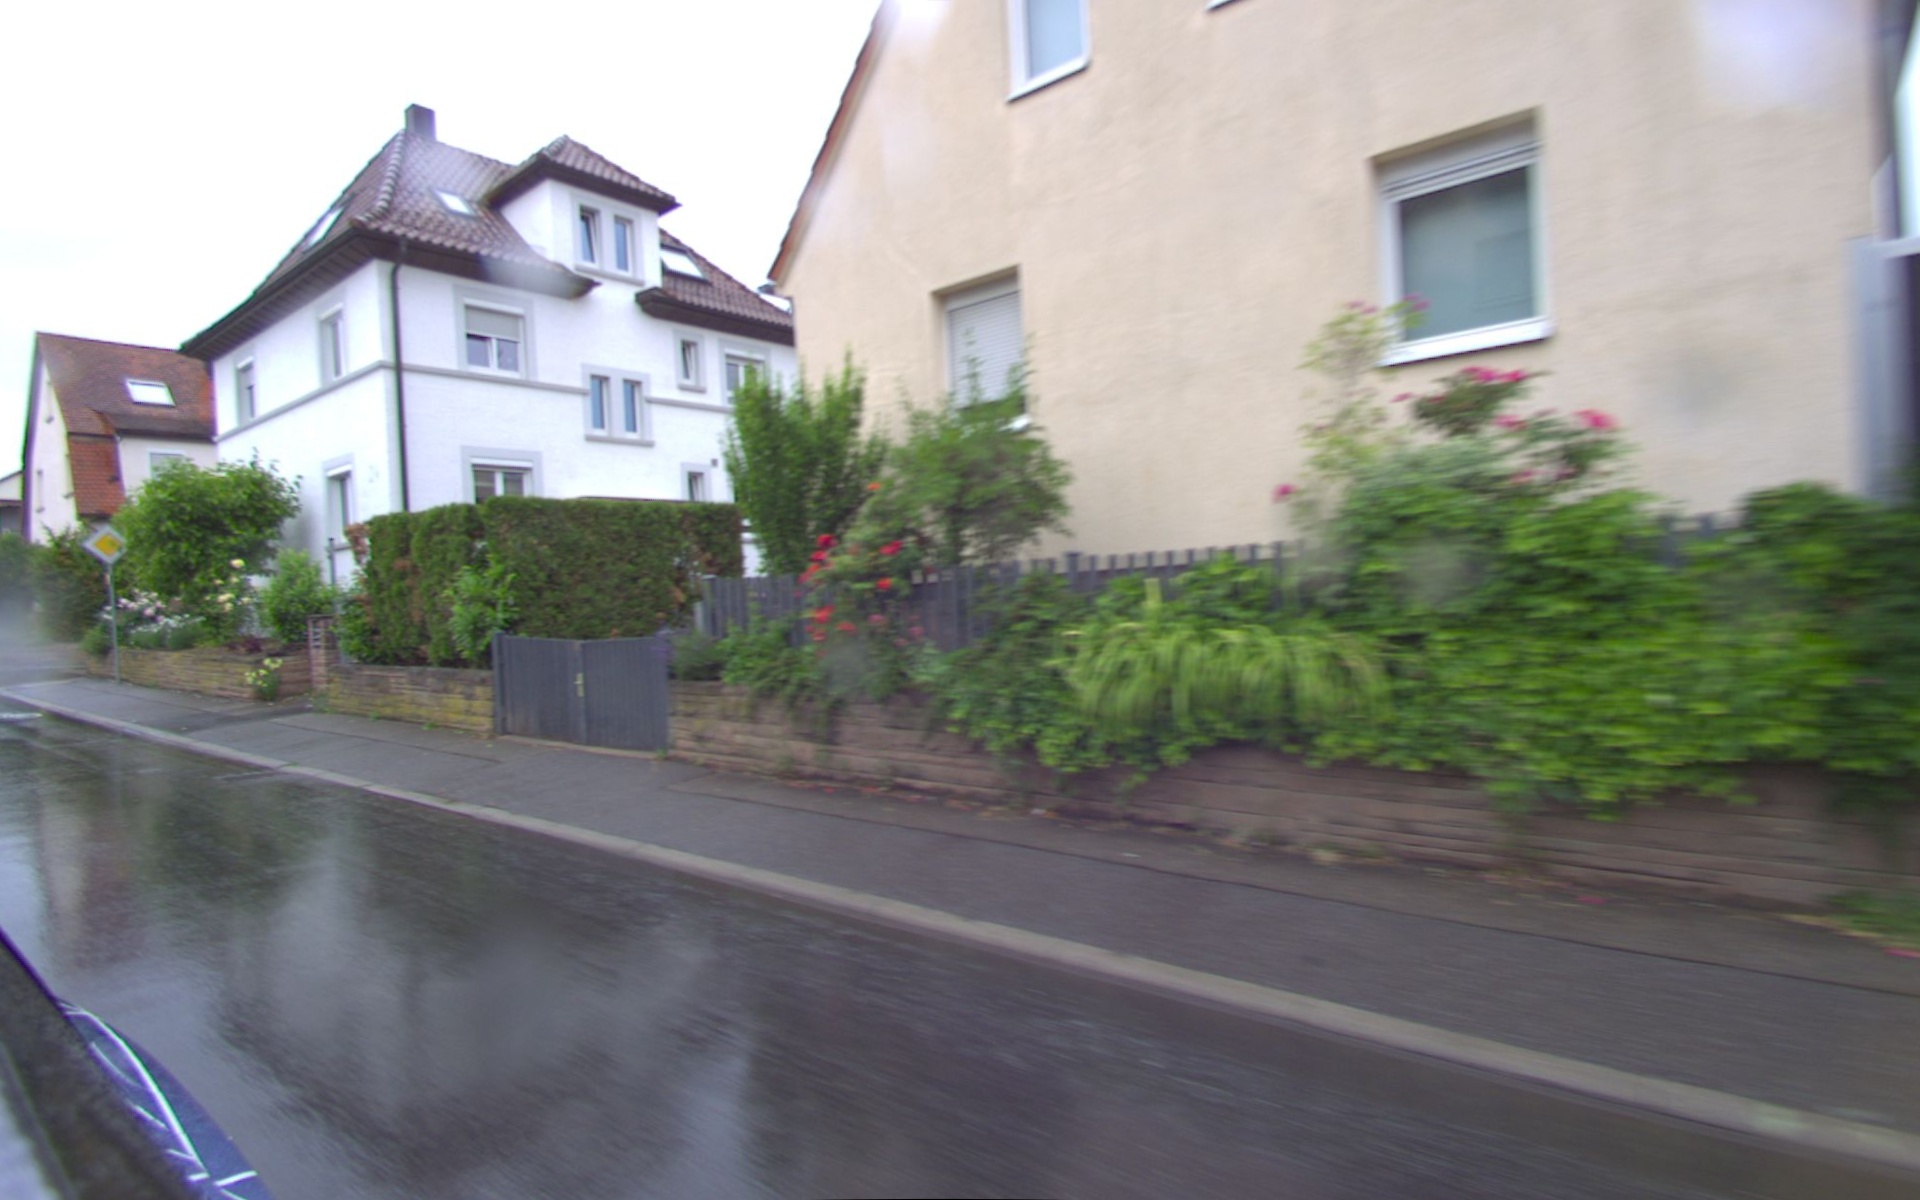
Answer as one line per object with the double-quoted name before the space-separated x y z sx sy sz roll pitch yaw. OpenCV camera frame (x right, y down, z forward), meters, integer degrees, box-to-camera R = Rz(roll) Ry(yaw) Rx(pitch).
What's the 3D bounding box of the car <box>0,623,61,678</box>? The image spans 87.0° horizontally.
"car" -39.806 1.917 41.399 1.870 1.990 3.953 -2 -12 36
